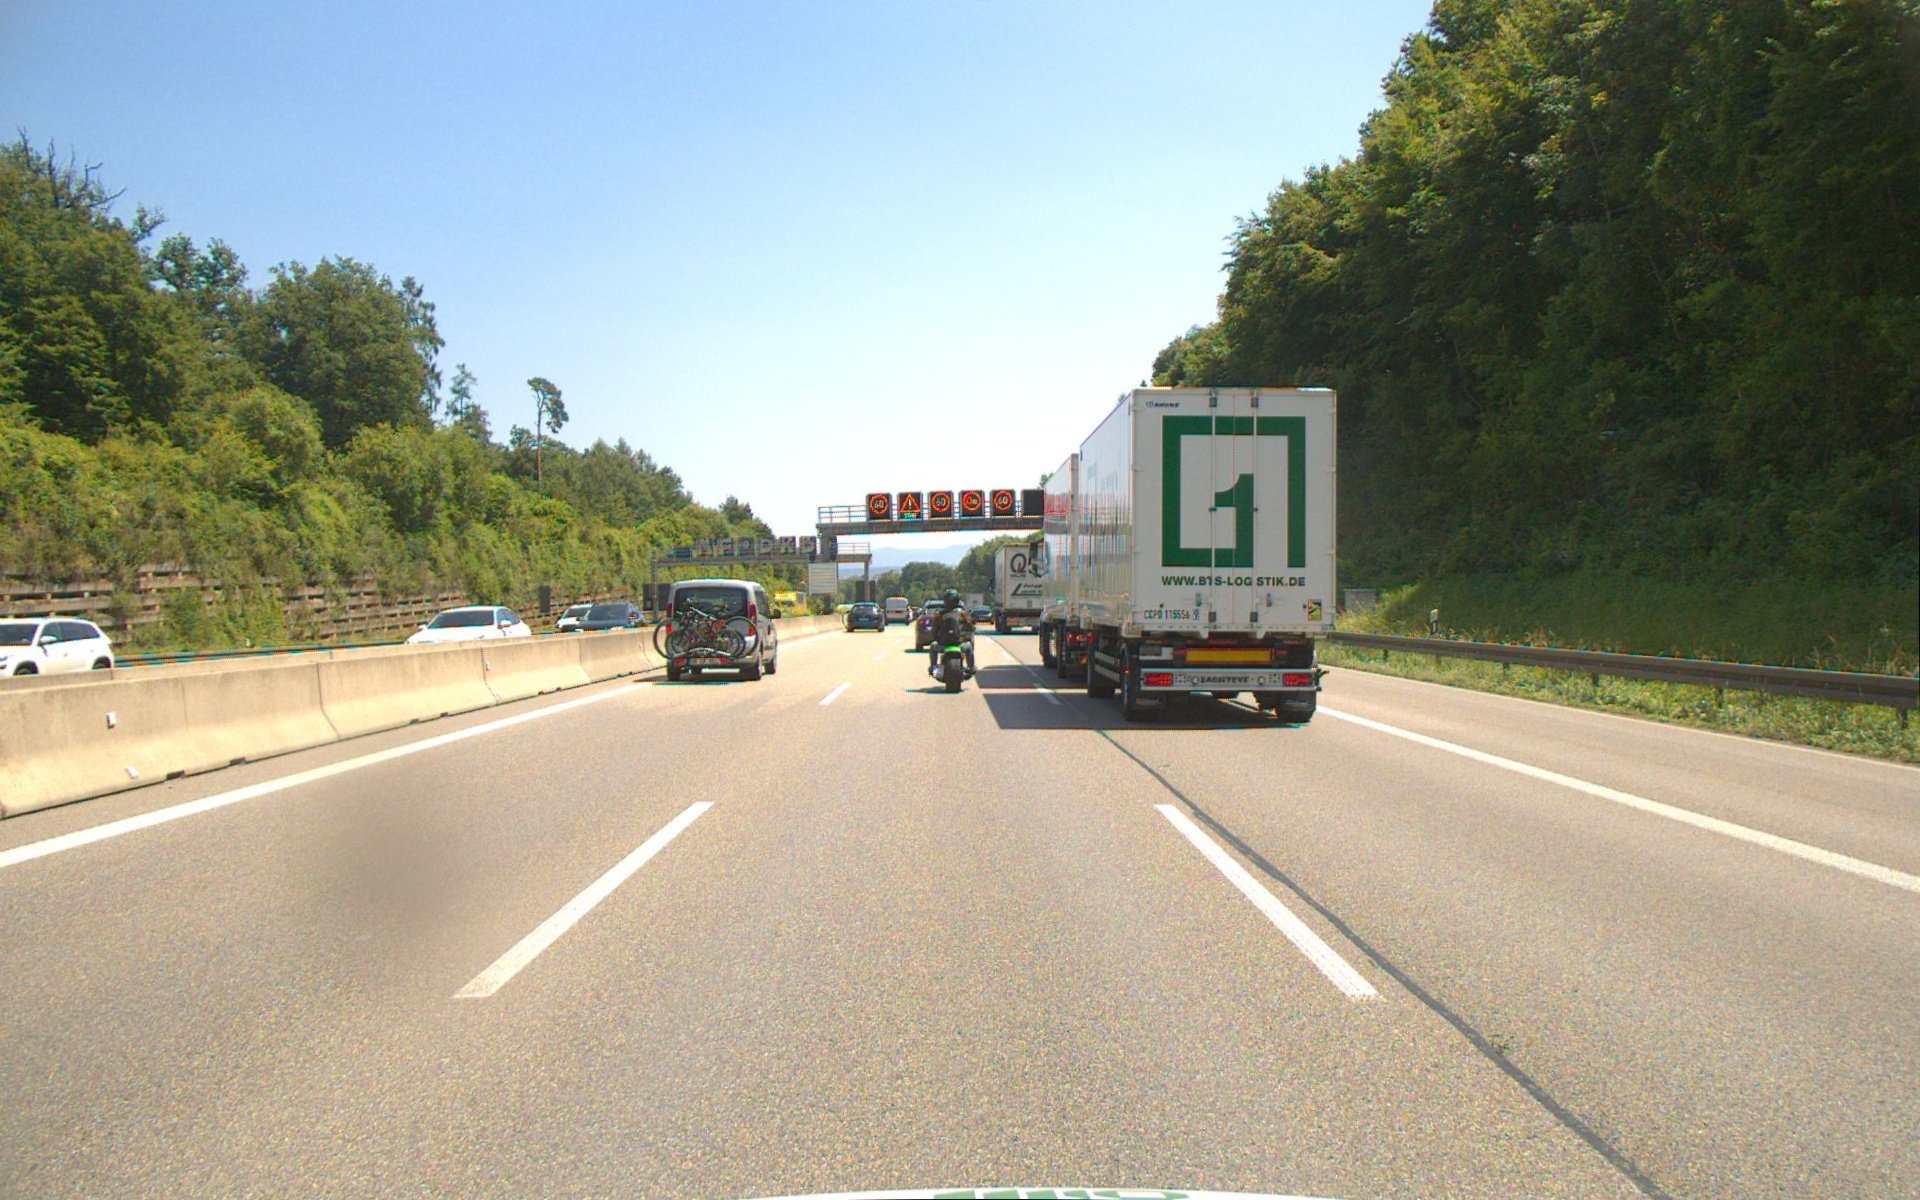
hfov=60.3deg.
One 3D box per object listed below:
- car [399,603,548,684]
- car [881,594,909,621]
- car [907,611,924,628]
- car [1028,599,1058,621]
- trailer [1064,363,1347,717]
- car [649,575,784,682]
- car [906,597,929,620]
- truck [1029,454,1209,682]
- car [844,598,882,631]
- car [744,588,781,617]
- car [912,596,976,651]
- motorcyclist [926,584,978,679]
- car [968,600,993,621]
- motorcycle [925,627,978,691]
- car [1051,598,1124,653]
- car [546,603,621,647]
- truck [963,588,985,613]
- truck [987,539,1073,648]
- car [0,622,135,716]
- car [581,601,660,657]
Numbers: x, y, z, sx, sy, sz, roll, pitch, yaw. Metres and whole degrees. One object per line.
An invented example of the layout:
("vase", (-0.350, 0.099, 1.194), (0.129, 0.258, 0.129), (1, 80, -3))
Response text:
("car", (-11.094, 0.938, 38.131), (1.900, 1.633, 5.225), (-2, 0, -1))
("car", (-4.504, 0.525, 115.001), (1.794, 1.842, 4.119), (0, 0, -1))
("car", (-4.902, 2.161, 181.977), (1.794, 1.842, 4.119), (0, 0, -1))
("car", (5.770, 0.690, 115.392), (1.794, 1.553, 4.026), (0, 0, -1))
("trailer", (3.267, -0.705, 24.891), (2.625, 4.249, 10.063), (0, 0, -1))
("car", (-4.560, 0.529, 31.757), (1.859, 1.880, 5.481), (0, -1, -1))
("car", (-3.490, 0.701, 136.431), (1.794, 1.842, 4.119), (0, 0, -1))
("truck", (3.100, -0.561, 35.239), (2.625, 4.131, 10.623), (0, 0, -1))
("car", (-4.852, 0.705, 82.962), (1.722, 1.571, 4.394), (0, 0, -1))
("car", (-11.841, 0.146, 99.368), (1.711, 1.633, 4.057), (-2, 0, -1))
("car", (-0.489, 0.673, 49.554), (1.808, 1.584, 4.438), (0, 0, -1))
("motorcyclist", (-0.131, 0.522, 27.537), (0.838, 1.541, 0.914), (0, -1, 0))
("car", (1.512, 0.783, 124.326), (1.794, 1.553, 4.026), (0, 0, -1))
("motorcycle", (-0.132, 0.964, 27.524), (0.844, 0.999, 2.130), (0, -1, 0))
("car", (3.806, 0.732, 49.854), (1.808, 1.584, 4.391), (0, 0, -1))
("car", (-15.476, 0.994, 68.252), (1.845, 1.666, 5.648), (-2, 0, -1))
("truck", (2.009, 0.051, 237.450), (3.005, 3.405, 9.650), (1, 0, -1))
("truck", (3.282, -0.240, 82.768), (3.314, 4.800, 17.705), (1, 0, -1))
("car", (-18.336, 1.324, 32.421), (1.900, 1.633, 4.859), (-2, 0, -1))
("car", (-11.134, 0.920, 54.473), (1.717, 1.666, 4.302), (-2, 0, -1))
